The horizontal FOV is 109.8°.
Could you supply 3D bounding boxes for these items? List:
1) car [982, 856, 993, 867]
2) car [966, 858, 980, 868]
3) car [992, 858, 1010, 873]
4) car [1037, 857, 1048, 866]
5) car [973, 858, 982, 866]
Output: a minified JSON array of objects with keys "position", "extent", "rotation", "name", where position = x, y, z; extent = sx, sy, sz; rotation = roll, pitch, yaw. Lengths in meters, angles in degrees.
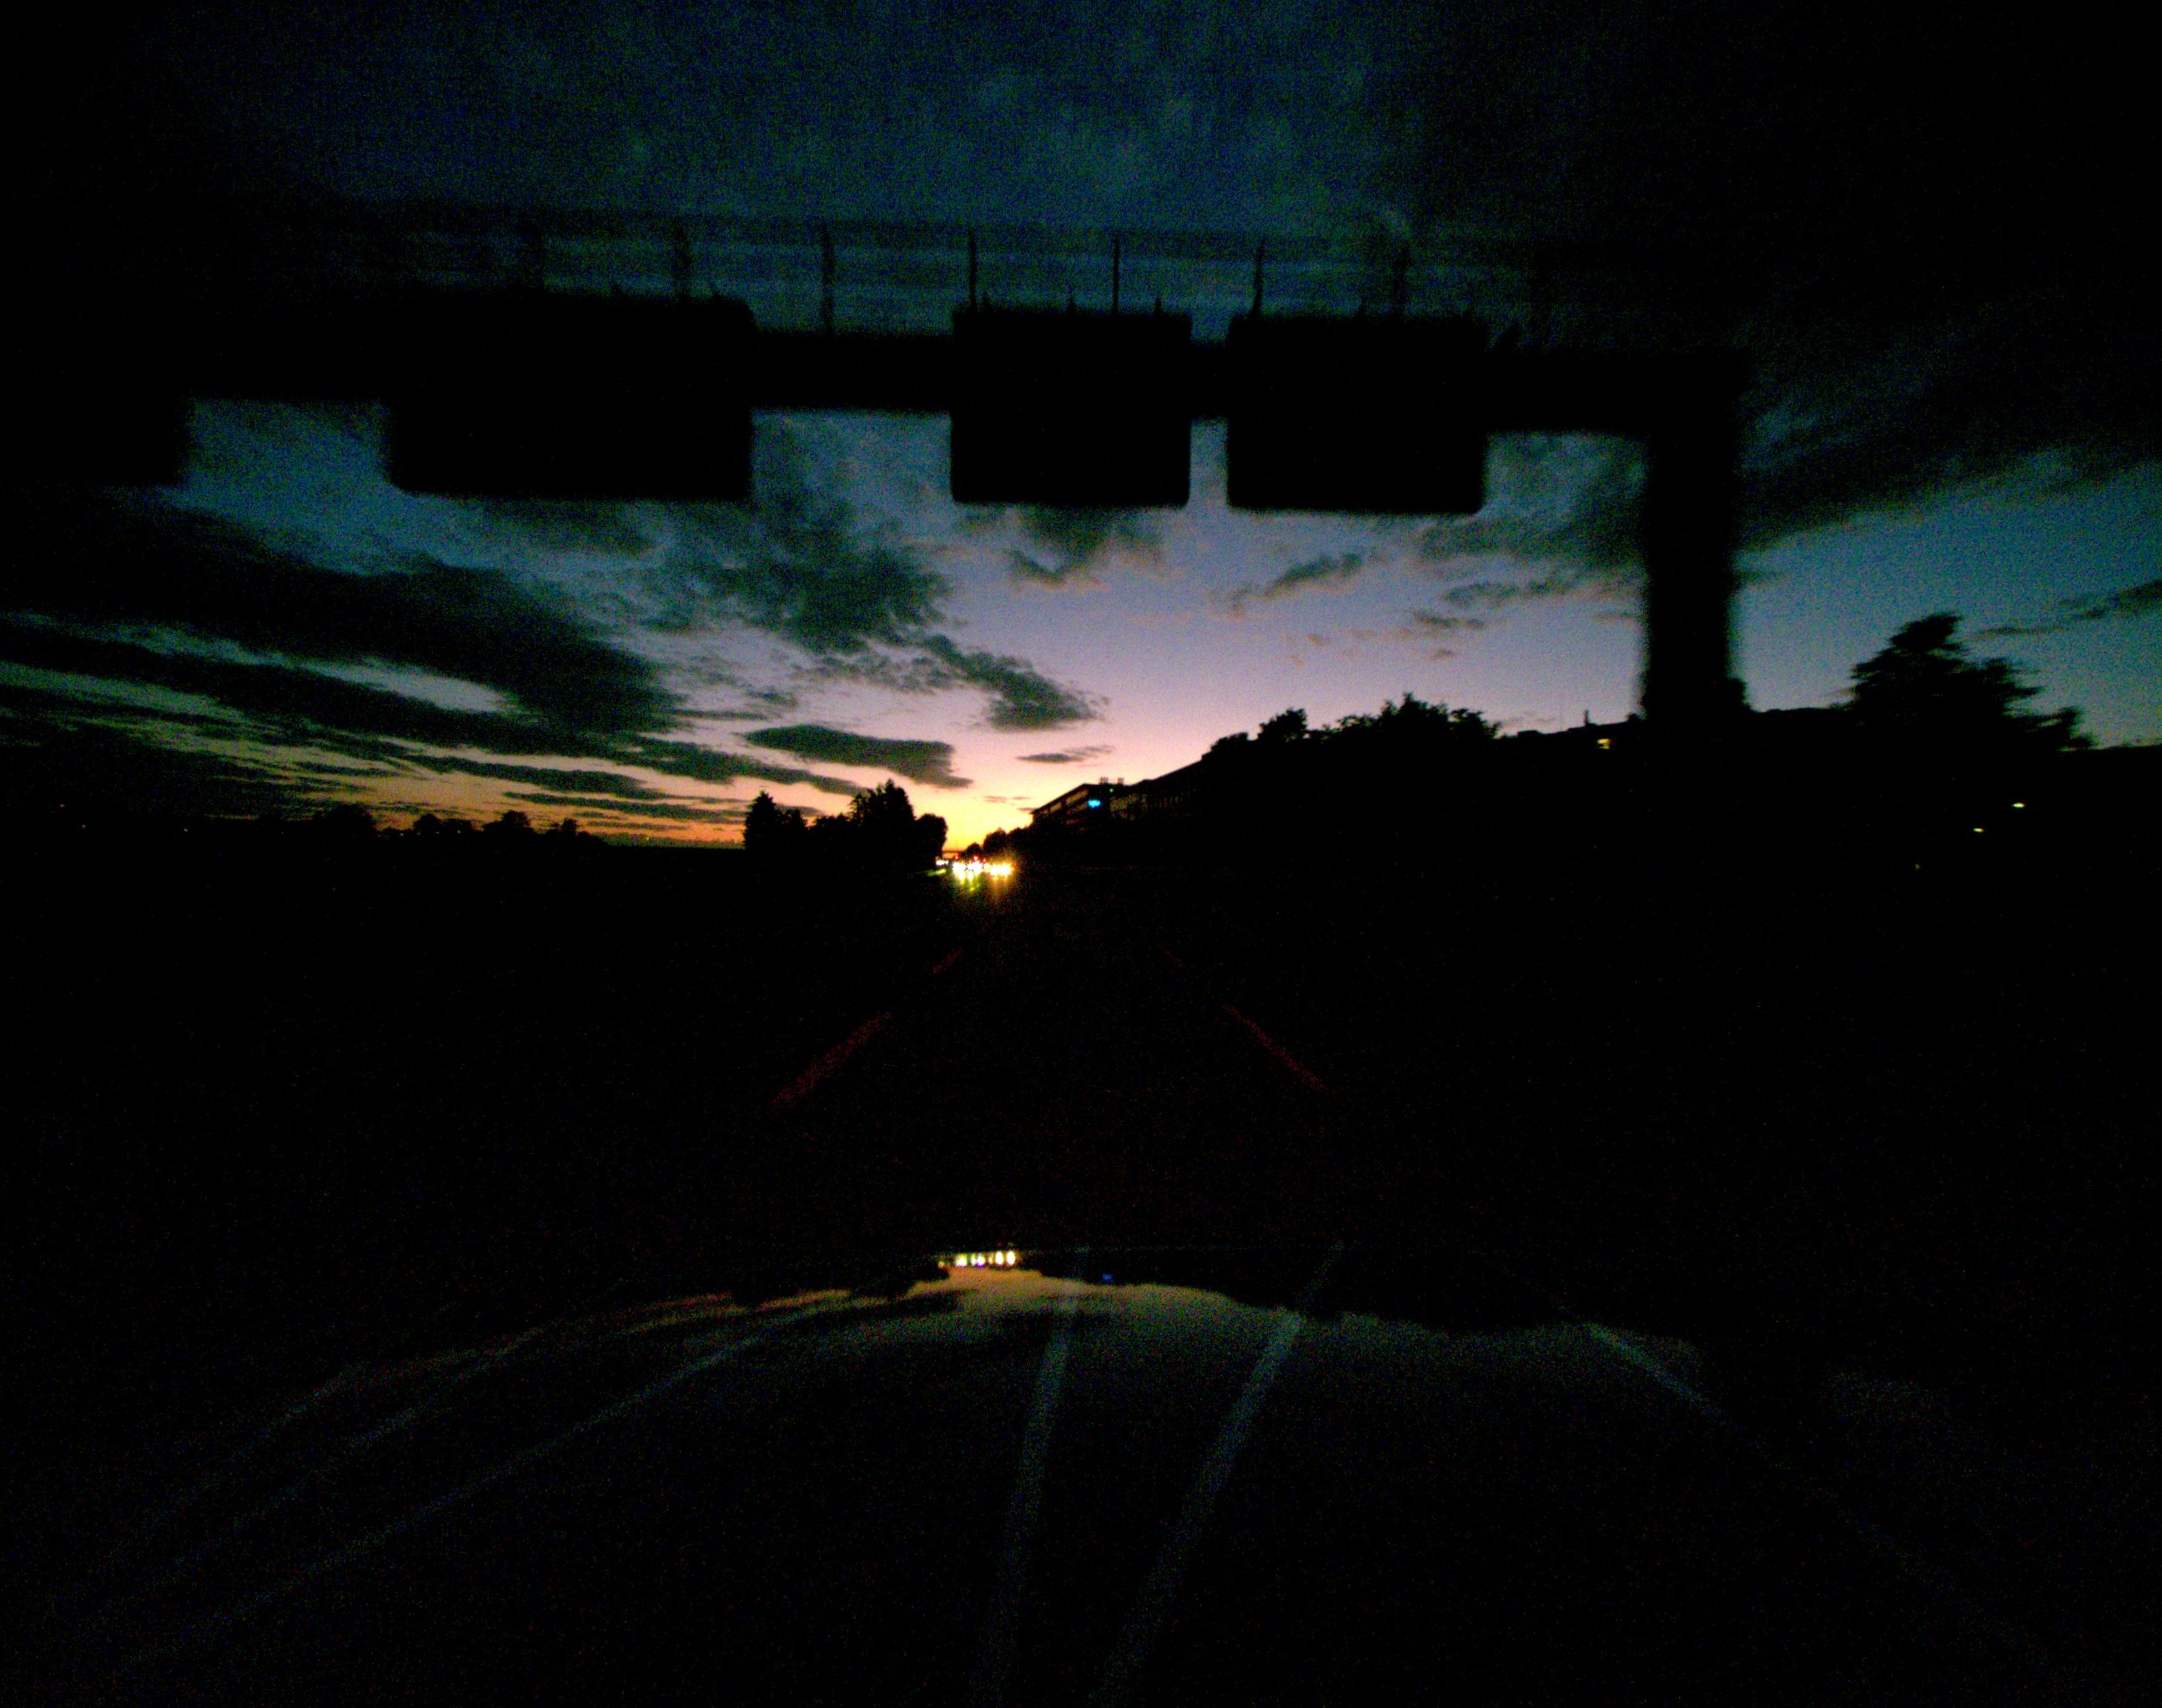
[{"position":[-17.852,1.467,144.986],"extent":[1.862,2.002,3.998],"rotation":[-2,0,-4],"name":"car"},{"position":[-18.177,1.574,128.012],"extent":[1.999,1.574,3.999],"rotation":[-2,0,-4],"name":"car"},{"position":[-8.649,1.237,82.321],"extent":[1.757,1.447,3.801],"rotation":[-2,0,-8],"name":"car"},{"position":[-7.451,1.494,147.759],"extent":[1.706,1.613,4.303],"rotation":[-1,0,-9],"name":"car"},{"position":[-21.839,1.671,159.848],"extent":[1.834,1.739,3.848],"rotation":[-2,0,-8],"name":"car"}]
